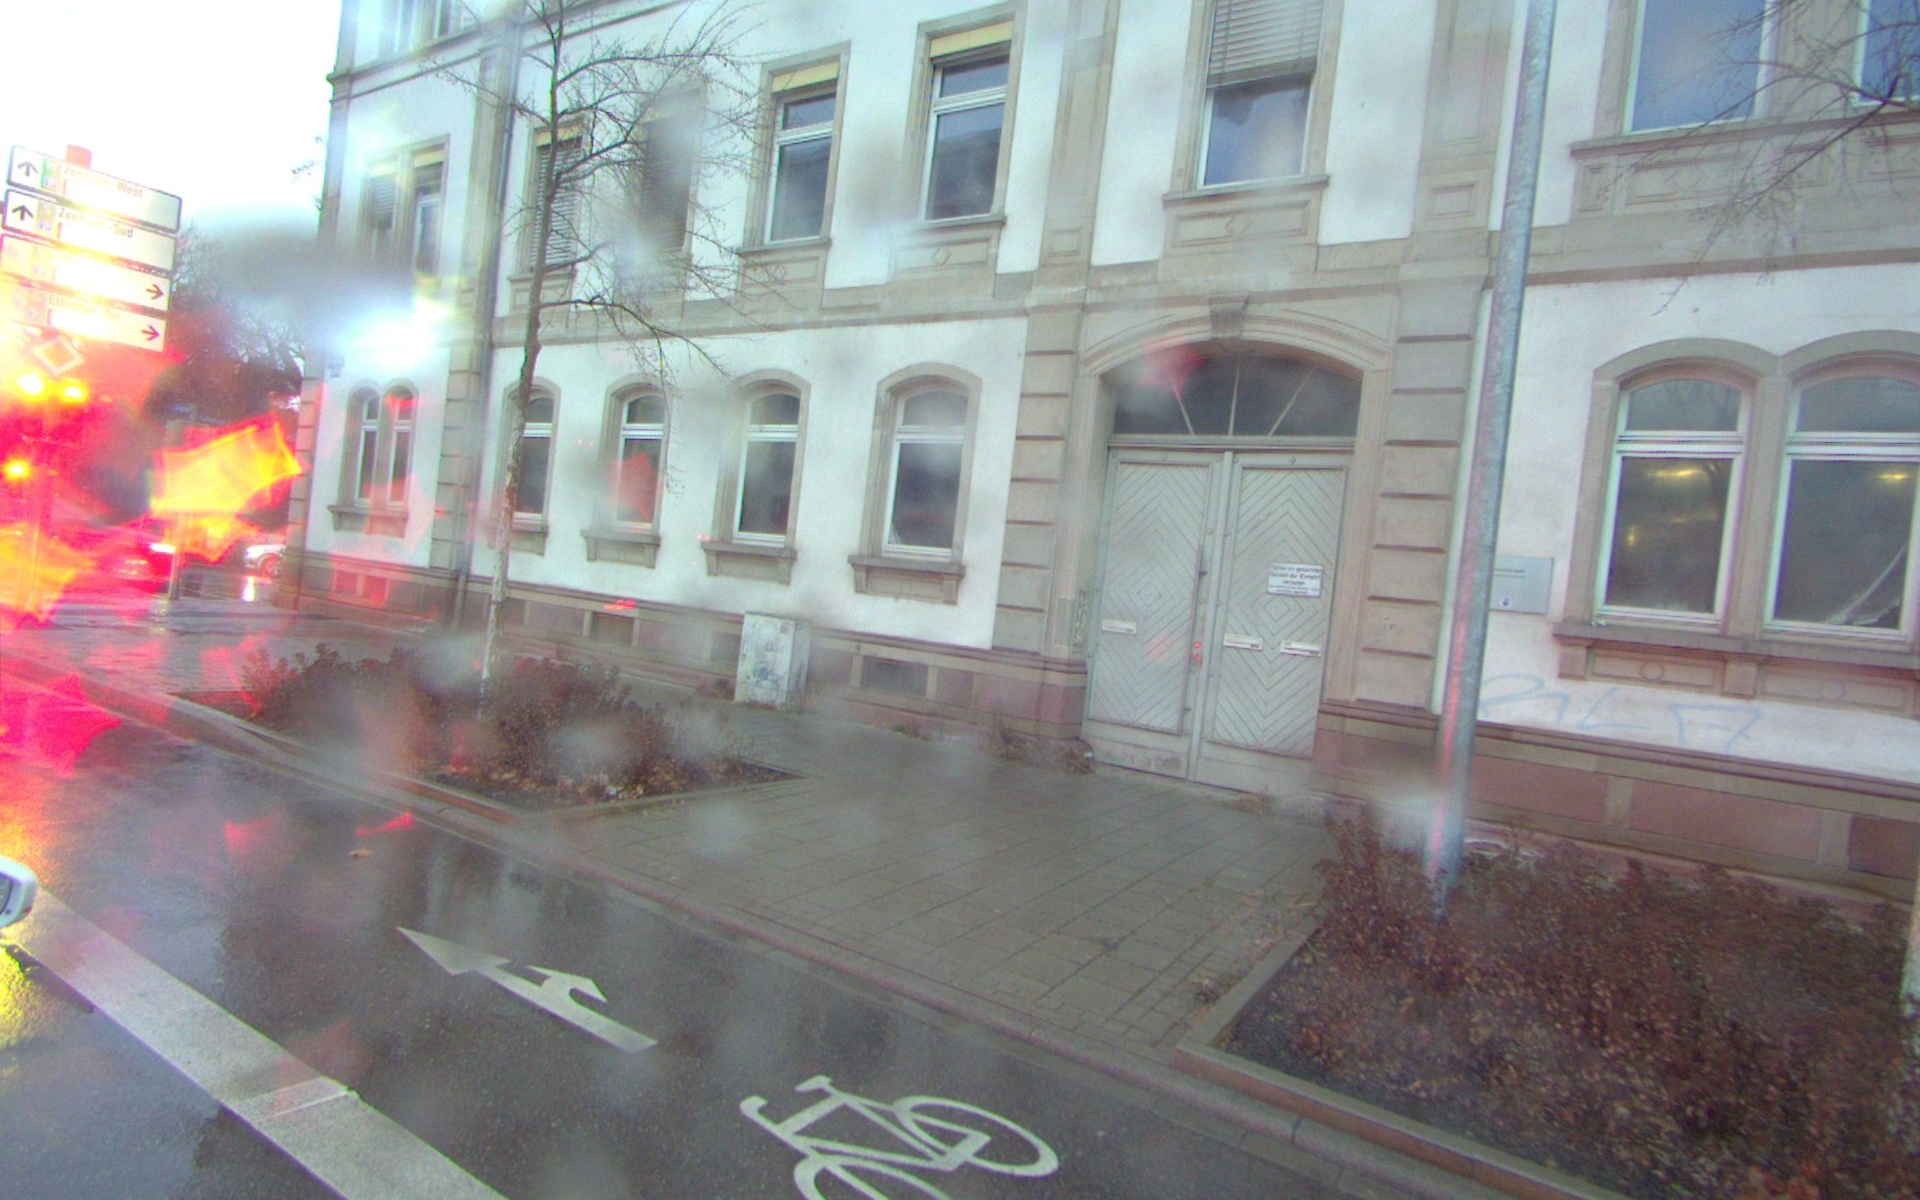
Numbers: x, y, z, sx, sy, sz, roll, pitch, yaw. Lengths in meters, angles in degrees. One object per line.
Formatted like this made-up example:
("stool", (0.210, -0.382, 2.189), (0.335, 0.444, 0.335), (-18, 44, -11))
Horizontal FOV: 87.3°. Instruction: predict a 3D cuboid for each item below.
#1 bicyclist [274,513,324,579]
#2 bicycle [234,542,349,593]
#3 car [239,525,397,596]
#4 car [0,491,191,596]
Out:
("bicyclist", (-19.396, -1.571, 29.521), (0.968, 1.778, 0.804), (8, -2, -40))
("bicycle", (-19.542, -0.930, 29.445), (2.657, 1.101, 0.806), (10, -3, -40))
("car", (-20.140, -1.194, 31.606), (3.937, 1.571, 1.732), (9, -3, -37))
("car", (-19.377, -1.268, 21.359), (4.677, 1.740, 1.881), (9, -3, -40))
